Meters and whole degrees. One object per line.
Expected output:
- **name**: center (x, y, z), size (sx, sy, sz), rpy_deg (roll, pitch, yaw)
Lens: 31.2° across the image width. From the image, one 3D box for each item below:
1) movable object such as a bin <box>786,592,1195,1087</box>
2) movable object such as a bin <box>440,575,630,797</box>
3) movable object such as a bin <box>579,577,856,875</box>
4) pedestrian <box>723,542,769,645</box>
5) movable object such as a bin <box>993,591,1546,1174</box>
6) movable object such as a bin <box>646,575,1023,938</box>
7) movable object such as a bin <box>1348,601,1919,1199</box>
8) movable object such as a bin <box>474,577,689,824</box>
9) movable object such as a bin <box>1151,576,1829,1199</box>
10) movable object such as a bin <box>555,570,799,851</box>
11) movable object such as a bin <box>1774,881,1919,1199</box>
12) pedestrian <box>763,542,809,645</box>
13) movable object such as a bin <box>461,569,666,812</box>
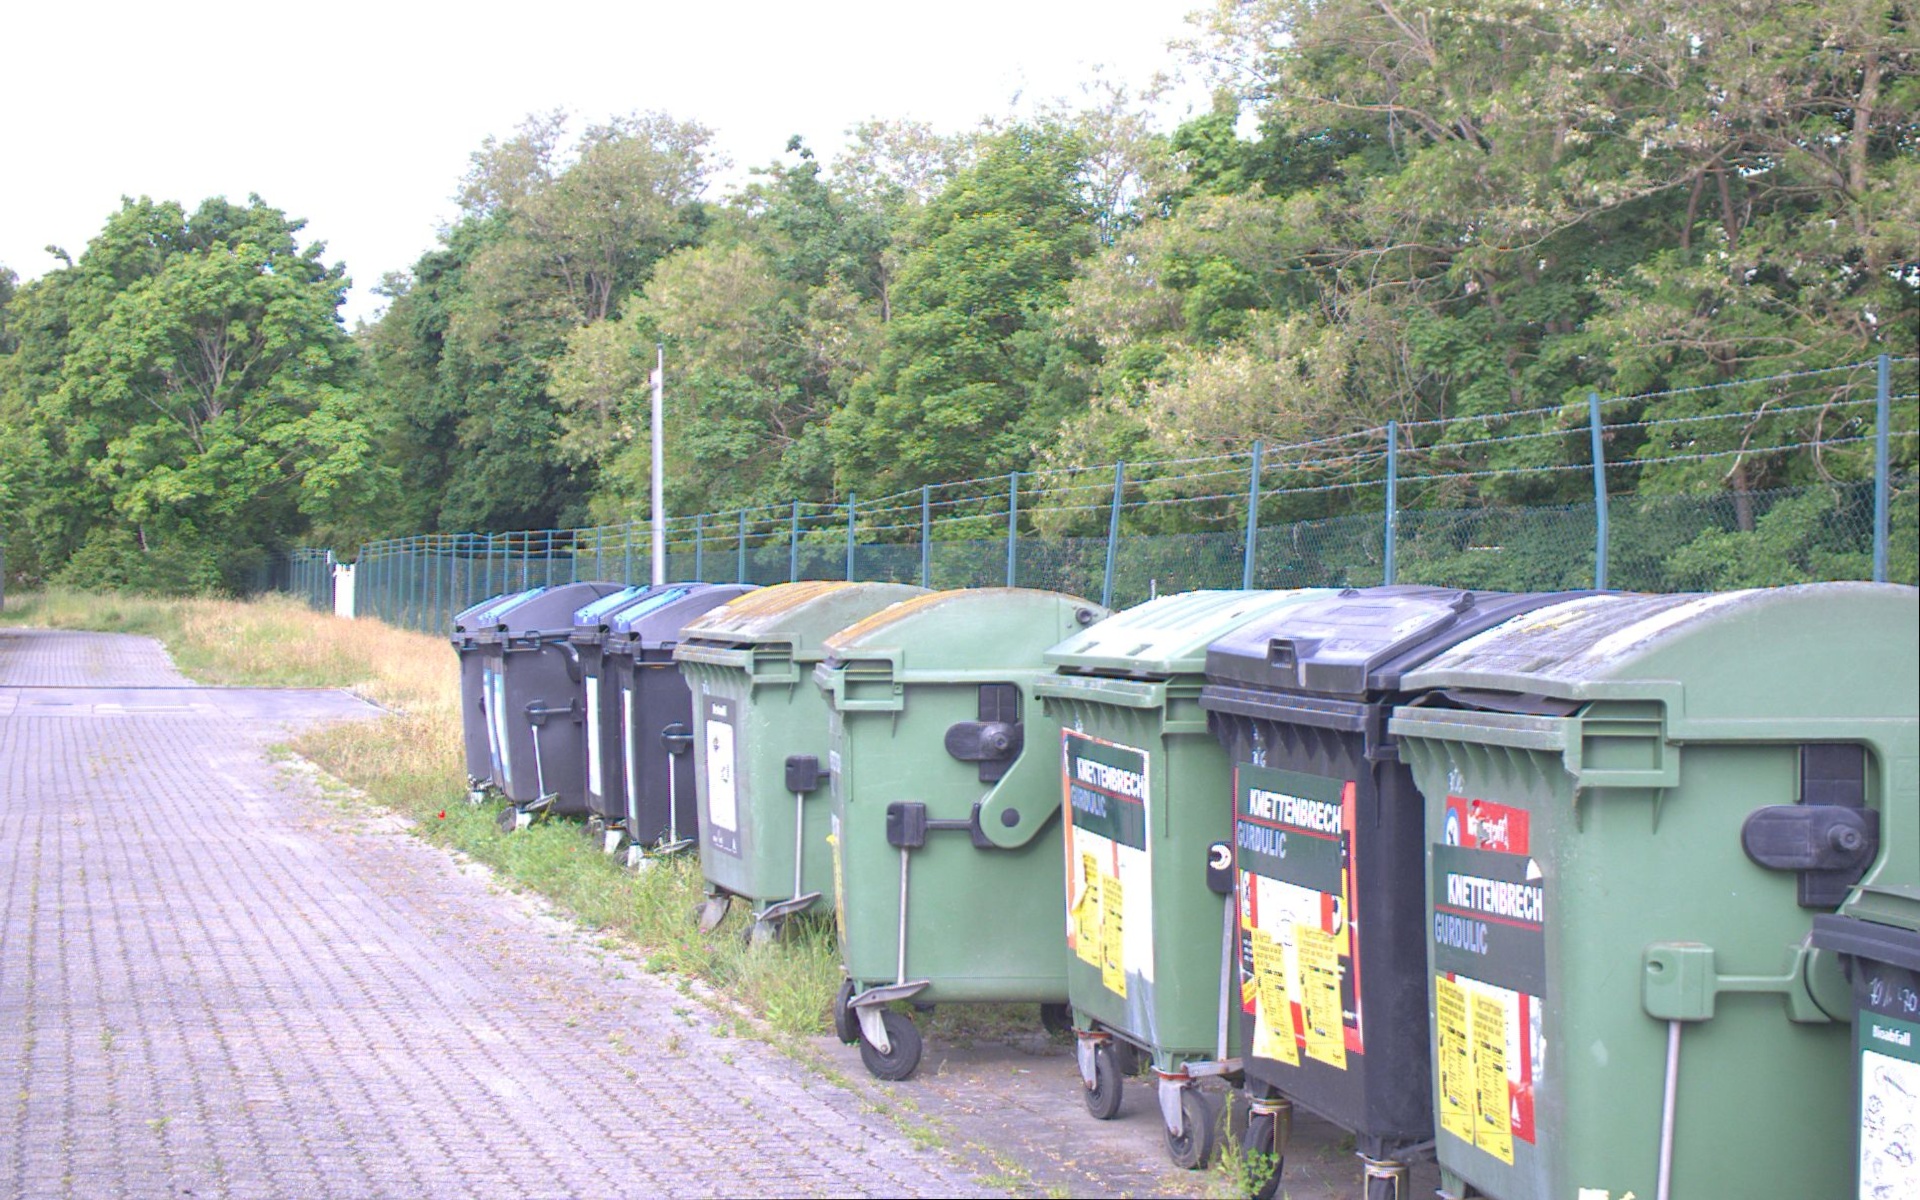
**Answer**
- **movable object such as a bin**: center (0.054, 0.690, 10.509), size (1.122, 1.393, 1.385), rpy_deg (1, -1, -4)
- **movable object such as a bin**: center (-2.716, 0.535, 21.825), size (1.122, 1.346, 1.426), rpy_deg (1, -1, -9)
- **movable object such as a bin**: center (-1.166, 0.573, 16.184), size (1.154, 1.320, 1.494), rpy_deg (1, -1, -9)
- **pedestrian**: center (-4.194, -0.137, 67.419), size (0.759, 2.007, 0.664), rpy_deg (0, 0, -15)
- **movable object such as a bin**: center (0.769, 0.692, 9.051), size (1.069, 1.401, 1.385), rpy_deg (1, -1, -12)
- **movable object such as a bin**: center (-0.504, 0.569, 13.044), size (1.122, 1.292, 1.380), rpy_deg (1, -1, -15)
- **movable object such as a bin**: center (1.436, 0.712, 6.445), size (1.128, 1.391, 1.356), rpy_deg (1, -1, -6)
- **movable object such as a bin**: center (-2.125, 0.540, 19.125), size (1.122, 1.317, 1.325), rpy_deg (0, 0, -9)
- **movable object such as a bin**: center (1.142, 0.679, 7.770), size (1.069, 1.430, 1.398), rpy_deg (1, -1, -12)
- **movable object such as a bin**: center (-1.483, 0.554, 17.735), size (1.122, 1.369, 1.494), rpy_deg (1, -1, -9)
- **movable object such as a bin**: center (1.695, 0.907, 5.507), size (0.599, 0.863, 0.586), rpy_deg (1, -1, -6)
- **pedestrian**: center (-3.430, -0.136, 67.663), size (0.759, 2.007, 0.664), rpy_deg (0, 0, -15)
- **movable object such as a bin**: center (-2.370, 0.525, 20.406), size (1.122, 1.374, 1.325), rpy_deg (1, -1, -9)
